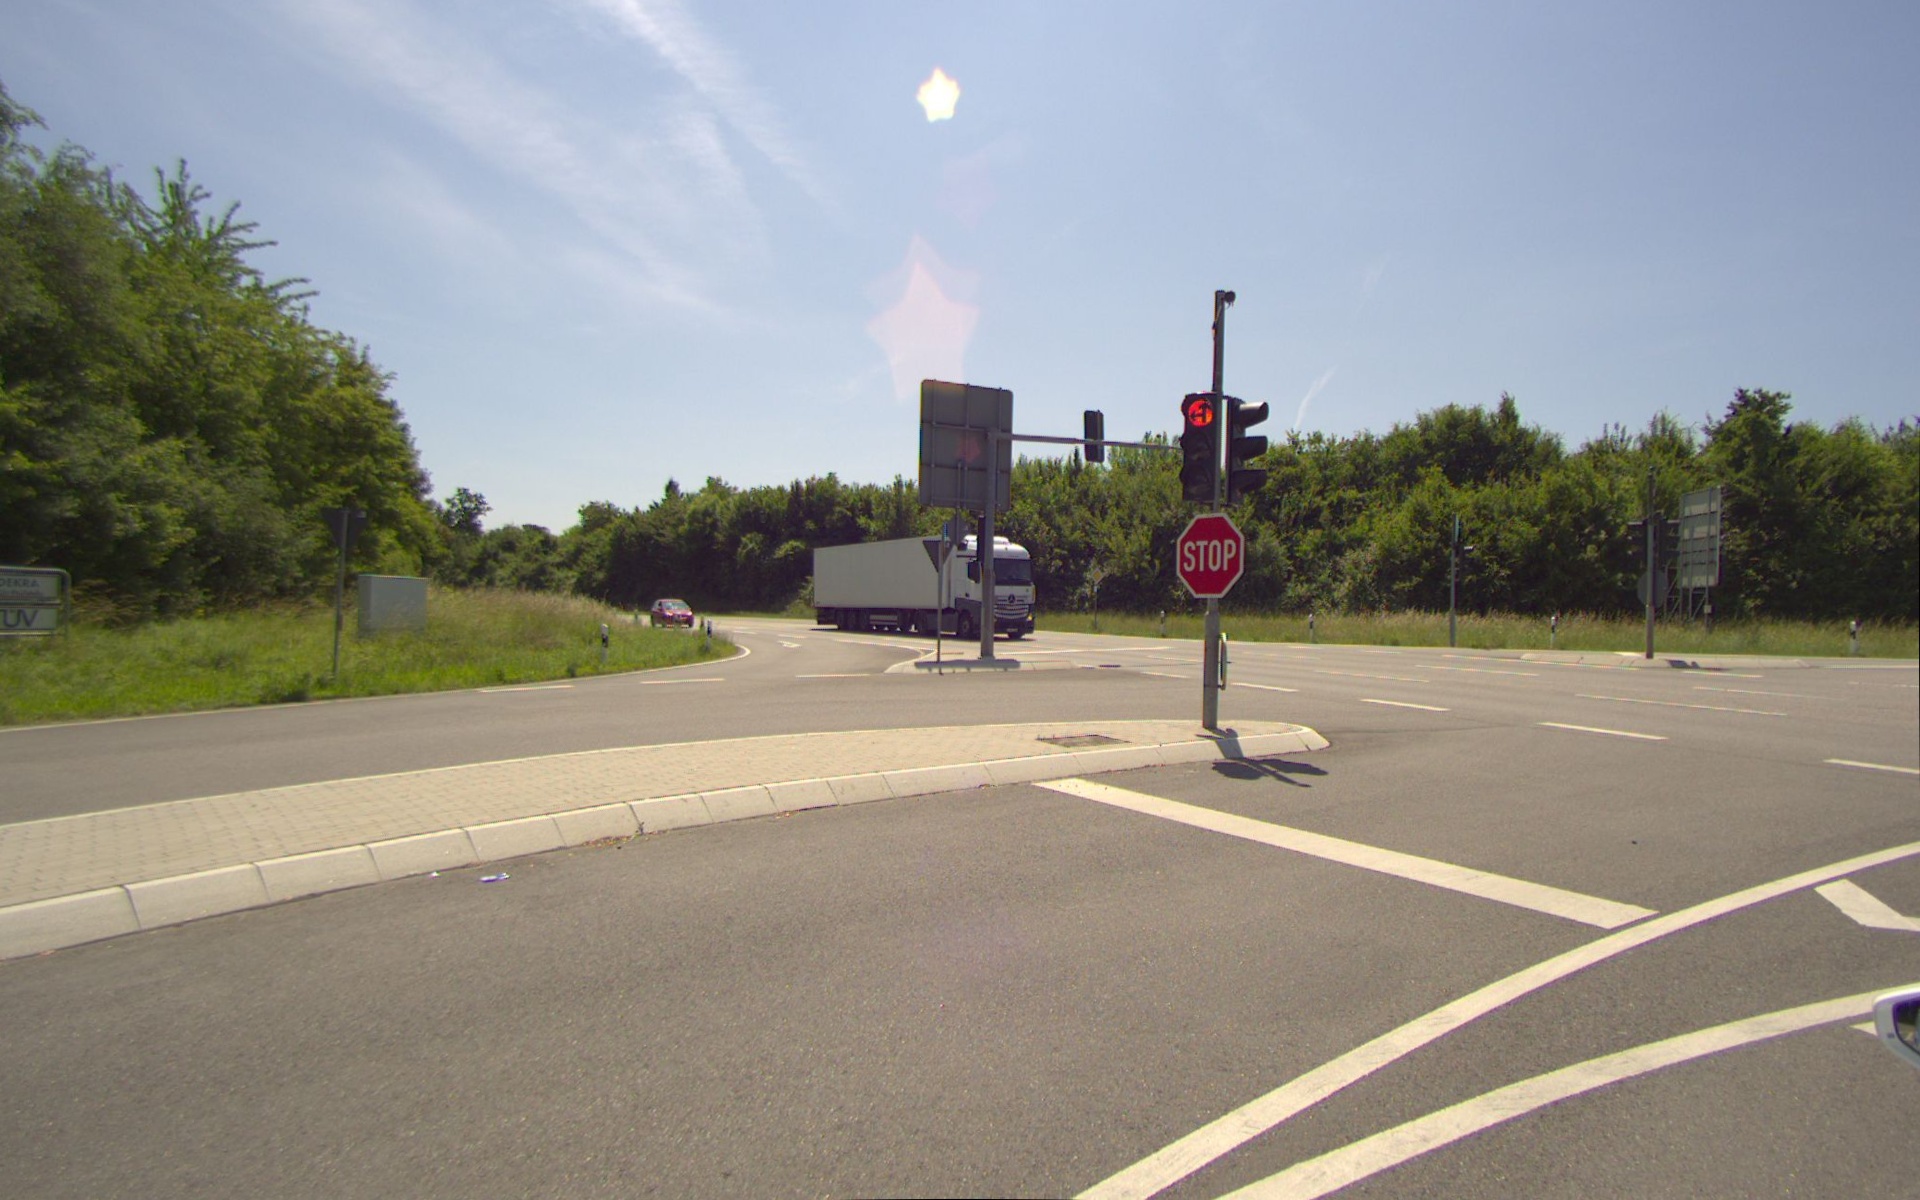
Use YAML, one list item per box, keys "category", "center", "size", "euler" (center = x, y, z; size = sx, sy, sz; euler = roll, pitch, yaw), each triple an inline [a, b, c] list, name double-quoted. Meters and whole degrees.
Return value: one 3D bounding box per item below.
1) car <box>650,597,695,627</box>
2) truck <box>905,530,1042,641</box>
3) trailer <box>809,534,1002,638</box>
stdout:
- category: "car"
  center: [-15.888, 0.628, 55.393]
  size: [1.532, 1.519, 3.802]
  euler: [0, 1, -30]
- category: "truck"
  center: [0.423, -0.557, 40.350]
  size: [2.631, 4.090, 6.227]
  euler: [0, 0, -31]
- category: "trailer"
  center: [-2.987, -0.610, 45.933]
  size: [2.631, 4.090, 13.718]
  euler: [0, 1, -31]
